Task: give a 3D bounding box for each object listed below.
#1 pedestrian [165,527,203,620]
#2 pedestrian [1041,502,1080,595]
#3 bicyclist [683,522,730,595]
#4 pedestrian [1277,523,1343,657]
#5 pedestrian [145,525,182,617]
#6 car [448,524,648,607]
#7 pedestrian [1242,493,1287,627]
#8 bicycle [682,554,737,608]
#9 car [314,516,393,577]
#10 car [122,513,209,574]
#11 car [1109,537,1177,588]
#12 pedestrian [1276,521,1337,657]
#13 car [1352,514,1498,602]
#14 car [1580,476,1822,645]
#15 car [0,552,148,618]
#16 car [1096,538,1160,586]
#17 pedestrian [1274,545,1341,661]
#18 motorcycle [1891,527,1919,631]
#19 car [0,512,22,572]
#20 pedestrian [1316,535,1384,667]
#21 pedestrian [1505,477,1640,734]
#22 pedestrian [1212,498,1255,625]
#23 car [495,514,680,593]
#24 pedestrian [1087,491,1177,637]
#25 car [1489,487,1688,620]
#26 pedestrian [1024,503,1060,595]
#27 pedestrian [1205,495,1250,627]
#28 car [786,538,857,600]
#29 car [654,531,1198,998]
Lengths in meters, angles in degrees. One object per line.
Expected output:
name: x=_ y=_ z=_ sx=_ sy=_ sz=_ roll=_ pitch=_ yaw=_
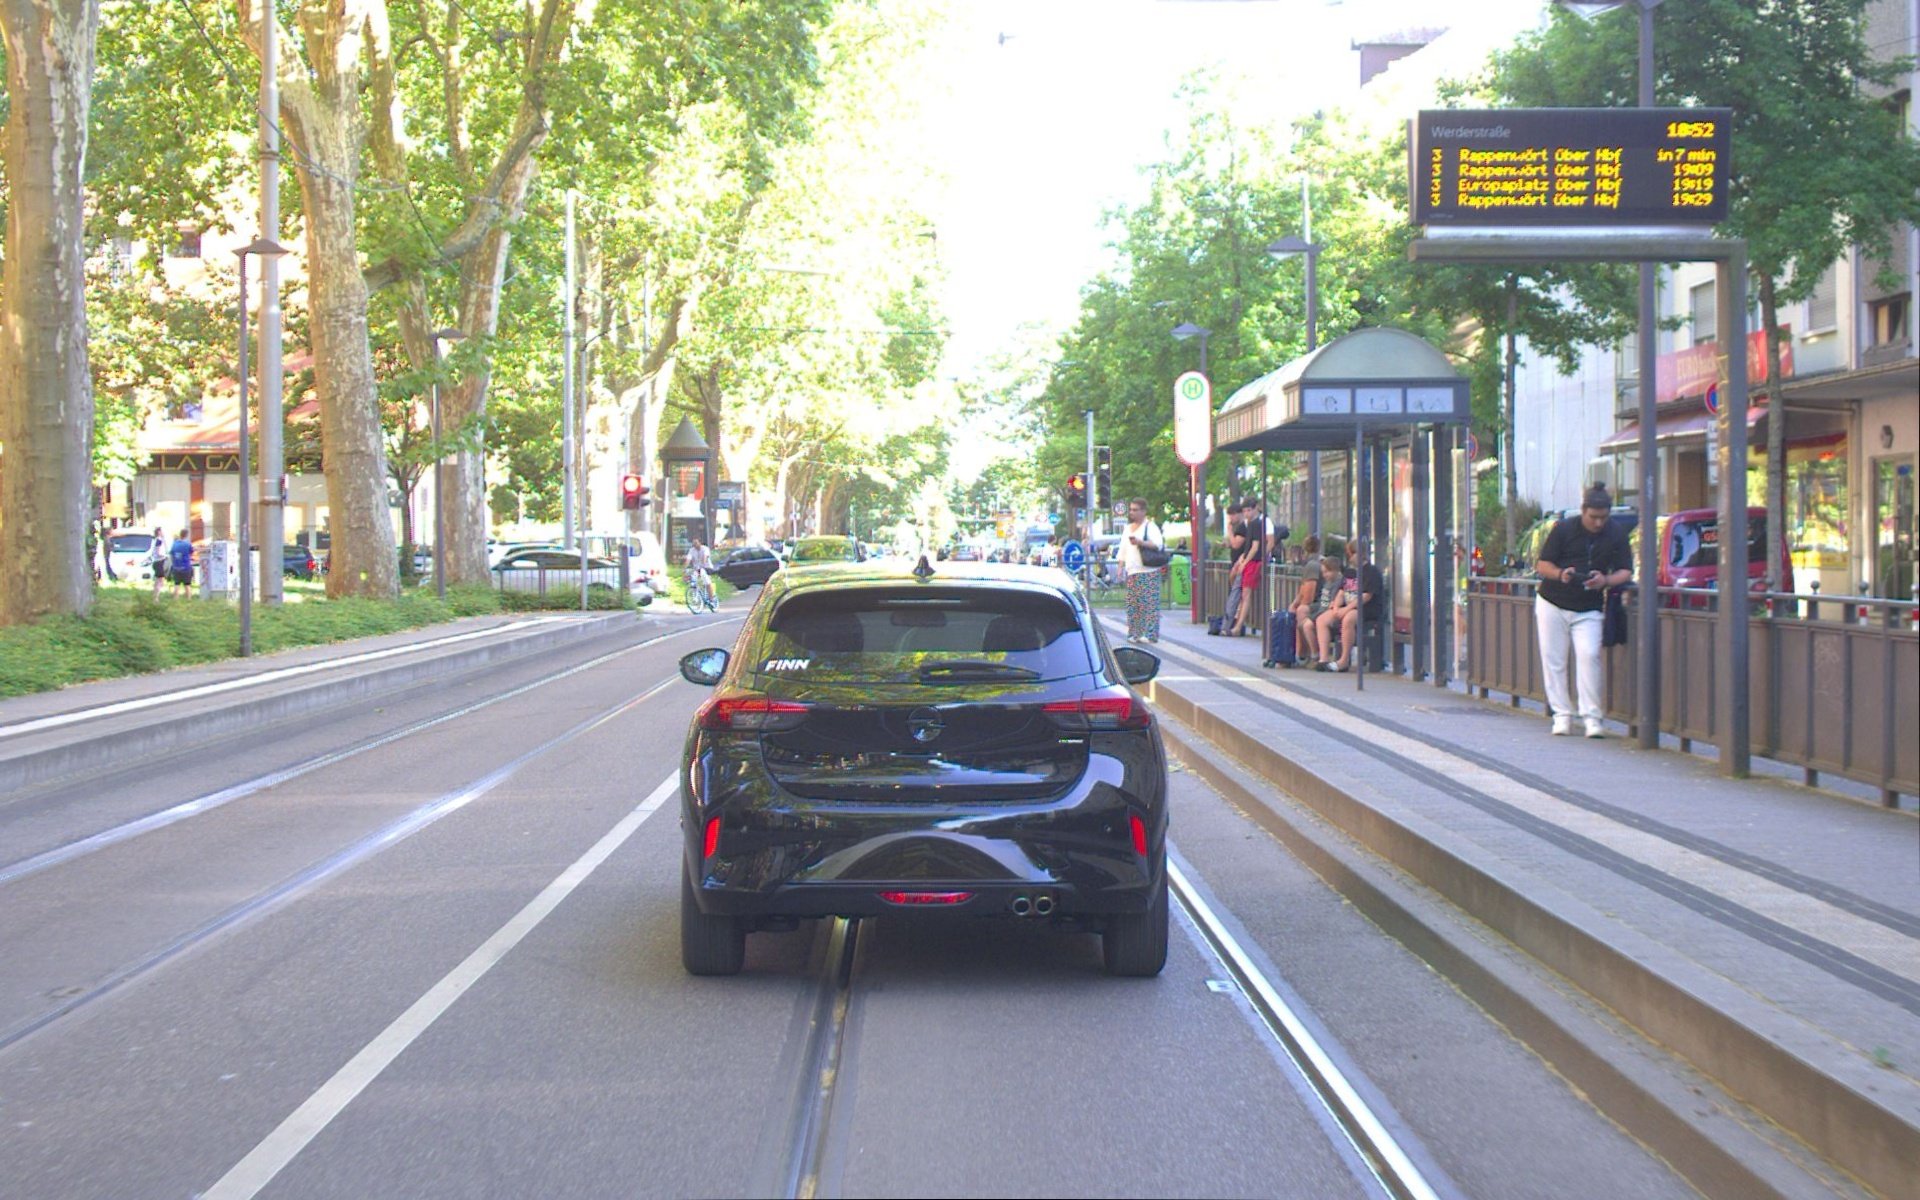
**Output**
pedestrian: x=-16.445 y=-0.558 z=72.843 sx=0.672 sy=1.943 sz=0.498 roll=2 pitch=1 yaw=-4
pedestrian: x=2.211 y=-1.141 z=75.433 sx=0.675 sy=2.007 sz=0.701 roll=2 pitch=1 yaw=11
bicyclist: x=-5.921 y=-0.968 z=80.394 sx=0.941 sy=1.697 sz=1.153 roll=1 pitch=0 yaw=3
pedestrian: x=3.437 y=-0.099 z=33.771 sx=0.534 sy=1.300 sz=0.551 roll=1 pitch=0 yaw=-5
pedestrian: x=-17.079 y=-0.631 z=73.723 sx=0.672 sy=1.943 sz=0.498 roll=2 pitch=1 yaw=-4
car: x=-8.707 y=-0.725 z=72.585 sx=4.113 sy=1.695 sz=1.884 roll=1 pitch=1 yaw=-7
pedestrian: x=4.034 y=-0.533 z=45.567 sx=0.531 sy=1.757 sz=0.661 roll=1 pitch=0 yaw=2
bicycle: x=-5.898 y=-0.457 z=81.153 sx=0.955 sy=1.236 sz=2.977 roll=1 pitch=1 yaw=2
car: x=-20.441 y=-1.804 z=116.035 sx=1.993 sy=2.007 sz=4.000 roll=1 pitch=1 yaw=-1
car: x=-26.605 y=-1.886 z=115.241 sx=1.993 sy=2.007 sz=4.000 roll=1 pitch=1 yaw=-1
car: x=5.993 y=-1.239 z=112.974 sx=1.993 sy=1.627 sz=4.000 roll=1 pitch=1 yaw=0
pedestrian: x=3.347 y=-0.104 z=33.235 sx=0.502 sy=1.300 sz=0.429 roll=1 pitch=0 yaw=-5
car: x=8.214 y=-0.748 z=60.994 sx=1.993 sy=1.481 sz=4.000 roll=1 pitch=1 yaw=0
car: x=8.974 y=-0.481 z=41.957 sx=1.993 sy=1.946 sz=4.000 roll=1 pitch=1 yaw=-1
car: x=-27.770 y=-0.469 z=107.551 sx=4.250 sy=2.007 sz=2.000 roll=1 pitch=1 yaw=0
car: x=5.815 y=-1.309 z=119.258 sx=1.993 sy=1.627 sz=4.000 roll=1 pitch=1 yaw=0
pedestrian: x=3.303 y=0.026 z=32.724 sx=0.534 sy=1.096 sz=0.551 roll=1 pitch=0 yaw=-5
motorcycle: x=12.302 y=-0.257 z=42.714 sx=0.892 sy=1.276 sz=2.043 roll=1 pitch=1 yaw=0
car: x=-32.971 y=-1.944 z=115.185 sx=1.993 sy=2.007 sz=4.000 roll=1 pitch=1 yaw=-1
pedestrian: x=3.651 y=0.008 z=32.189 sx=0.534 sy=1.226 sz=0.510 roll=1 pitch=0 yaw=-5
pedestrian: x=3.860 y=0.025 z=21.719 sx=0.630 sy=1.571 sz=0.871 roll=2 pitch=1 yaw=0
pedestrian: x=3.675 y=-0.517 z=46.243 sx=0.531 sy=1.703 sz=0.596 roll=1 pitch=0 yaw=2
car: x=-9.043 y=-1.121 z=83.358 sx=4.383 sy=1.845 sz=2.000 roll=1 pitch=1 yaw=-7
pedestrian: x=2.033 y=-0.428 z=40.590 sx=0.751 sy=1.703 sz=0.762 roll=1 pitch=1 yaw=34
car: x=8.858 y=-0.654 z=48.769 sx=1.993 sy=1.791 sz=4.000 roll=1 pitch=1 yaw=-1
pedestrian: x=1.820 y=-1.135 z=76.385 sx=0.675 sy=2.007 sz=0.701 roll=2 pitch=1 yaw=6
pedestrian: x=3.489 y=-0.510 z=44.861 sx=0.531 sy=1.703 sz=0.752 roll=1 pitch=0 yaw=2
car: x=-3.542 y=-0.796 z=88.064 sx=1.745 sy=1.539 sz=4.000 roll=1 pitch=1 yaw=-2
car: x=-0.195 y=0.513 z=13.055 sx=1.759 sy=1.503 sz=3.683 roll=-1 pitch=1 yaw=-3
